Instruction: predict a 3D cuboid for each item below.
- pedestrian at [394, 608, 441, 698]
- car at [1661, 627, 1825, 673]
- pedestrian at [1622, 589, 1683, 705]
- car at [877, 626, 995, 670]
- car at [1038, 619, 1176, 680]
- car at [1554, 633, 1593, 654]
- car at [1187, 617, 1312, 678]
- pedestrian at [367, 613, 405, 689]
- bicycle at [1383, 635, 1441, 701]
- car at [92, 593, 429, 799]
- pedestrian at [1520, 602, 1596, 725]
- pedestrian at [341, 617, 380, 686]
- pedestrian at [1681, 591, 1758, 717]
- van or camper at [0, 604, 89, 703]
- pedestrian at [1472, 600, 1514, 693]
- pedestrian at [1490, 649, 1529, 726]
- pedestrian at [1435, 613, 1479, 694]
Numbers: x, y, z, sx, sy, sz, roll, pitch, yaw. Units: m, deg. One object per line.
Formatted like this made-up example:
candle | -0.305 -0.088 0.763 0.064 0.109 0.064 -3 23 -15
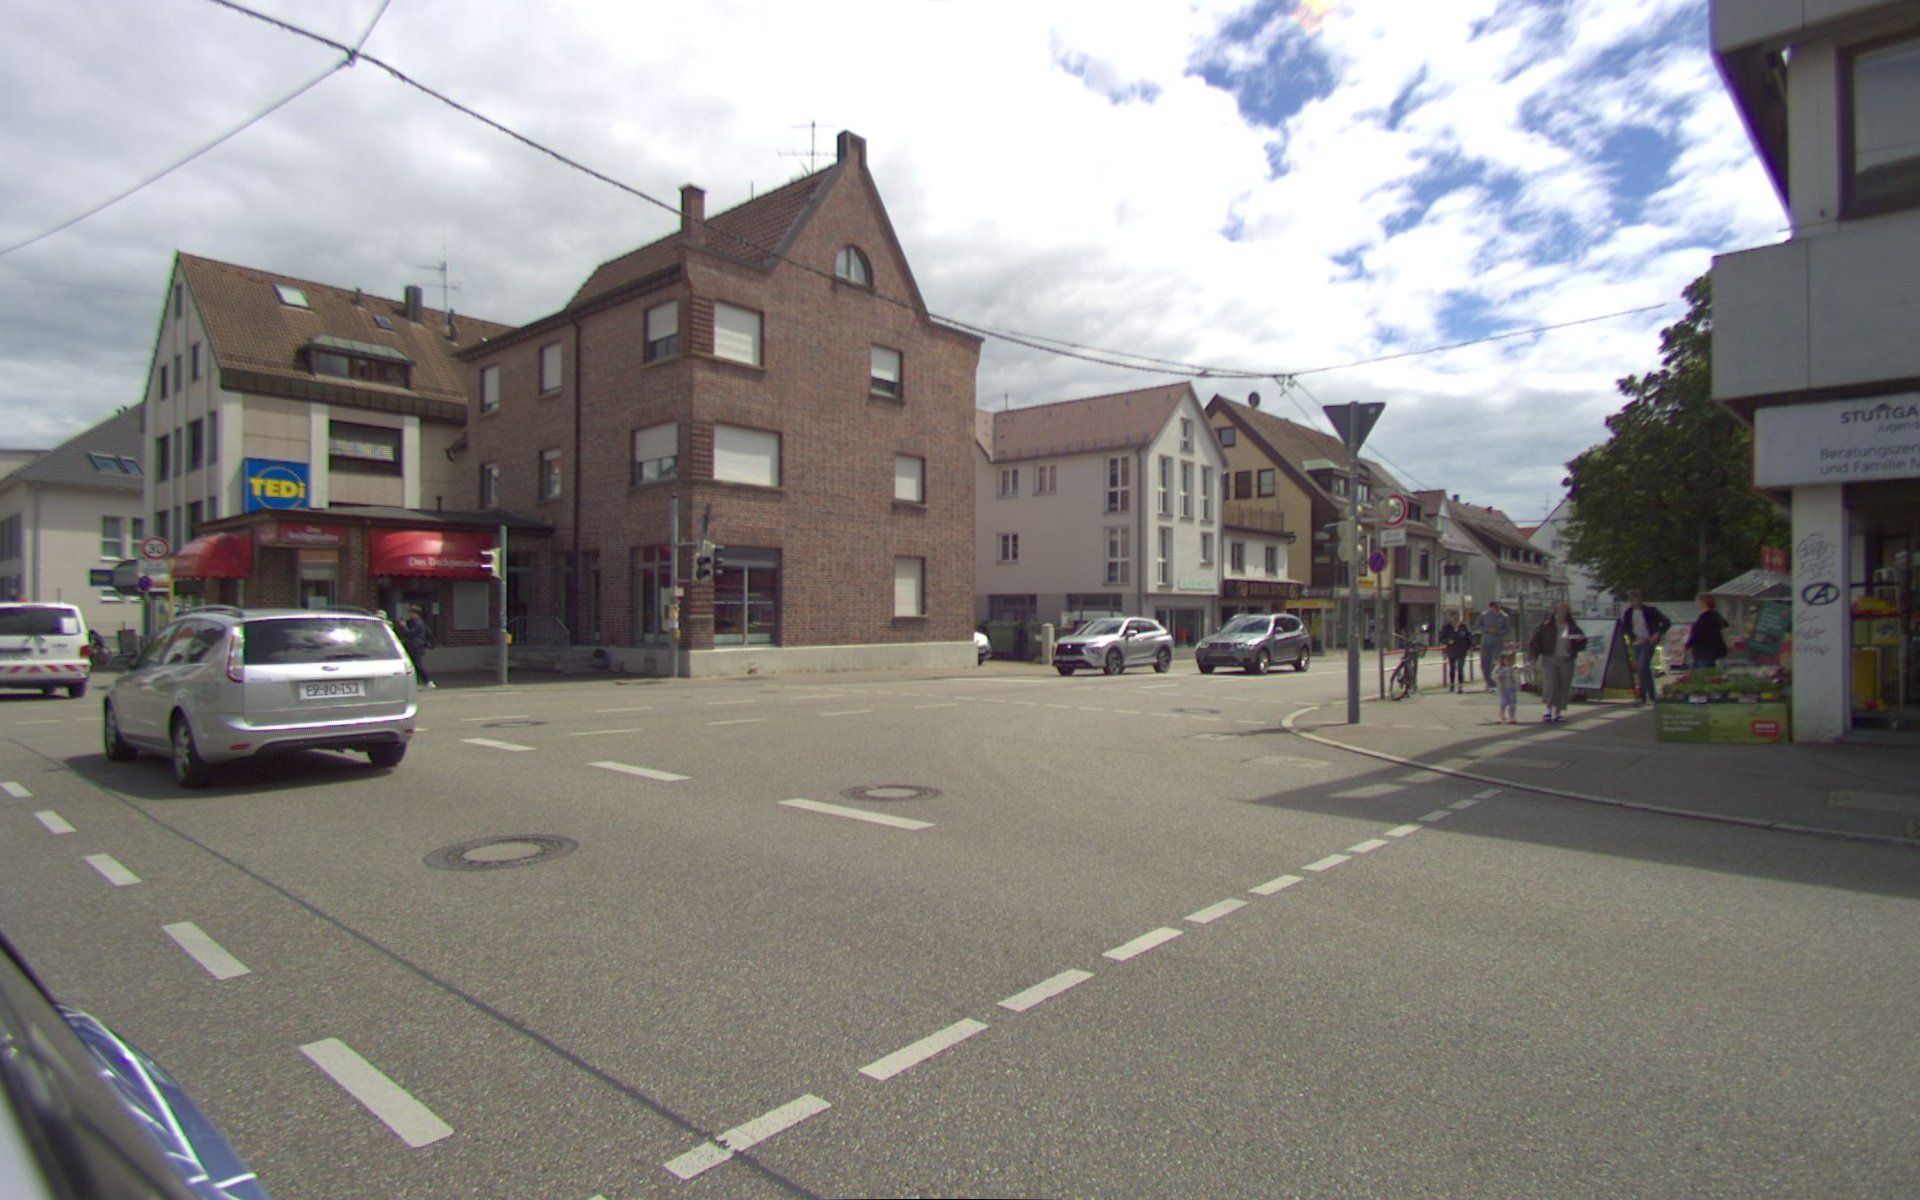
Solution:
pedestrian | -11.144 1.069 20.786 0.719 1.810 0.619 0 0 38
car | 24.261 1.527 31.433 1.756 1.332 3.731 1 -2 -40
pedestrian | 10.930 0.729 15.982 0.611 1.789 0.557 0 0 -26
car | -0.862 1.619 35.022 3.998 1.427 1.726 -2 -2 42
car | 4.261 1.381 28.885 1.920 1.586 4.270 -2 -3 41
car | 47.167 3.299 77.783 1.920 1.586 4.270 -2 -2 41
car | 8.191 1.301 28.460 1.920 1.586 3.946 -2 -3 41
pedestrian | -13.031 1.135 22.976 0.760 1.671 0.519 0 0 38
bicycle | 8.366 1.240 18.692 0.773 1.150 1.868 -1 -3 30
car | -6.843 0.797 9.726 4.212 1.565 1.651 -2 -2 41
pedestrian | 8.091 0.833 13.725 0.690 1.609 0.722 0 0 14
pedestrian | -13.345 1.135 22.522 0.760 1.496 0.519 0 0 38
pedestrian | 10.733 0.747 14.317 0.772 1.752 0.387 0 0 12
van or camper | -20.019 1.115 21.316 4.689 1.912 1.845 -3 -2 41
pedestrian | 10.896 0.953 20.683 0.675 1.850 0.727 -2 -3 33
pedestrian | 7.483 1.185 13.789 0.382 1.012 0.361 0 0 15
pedestrian | 10.022 1.068 20.400 0.675 1.589 0.727 -2 -3 33
